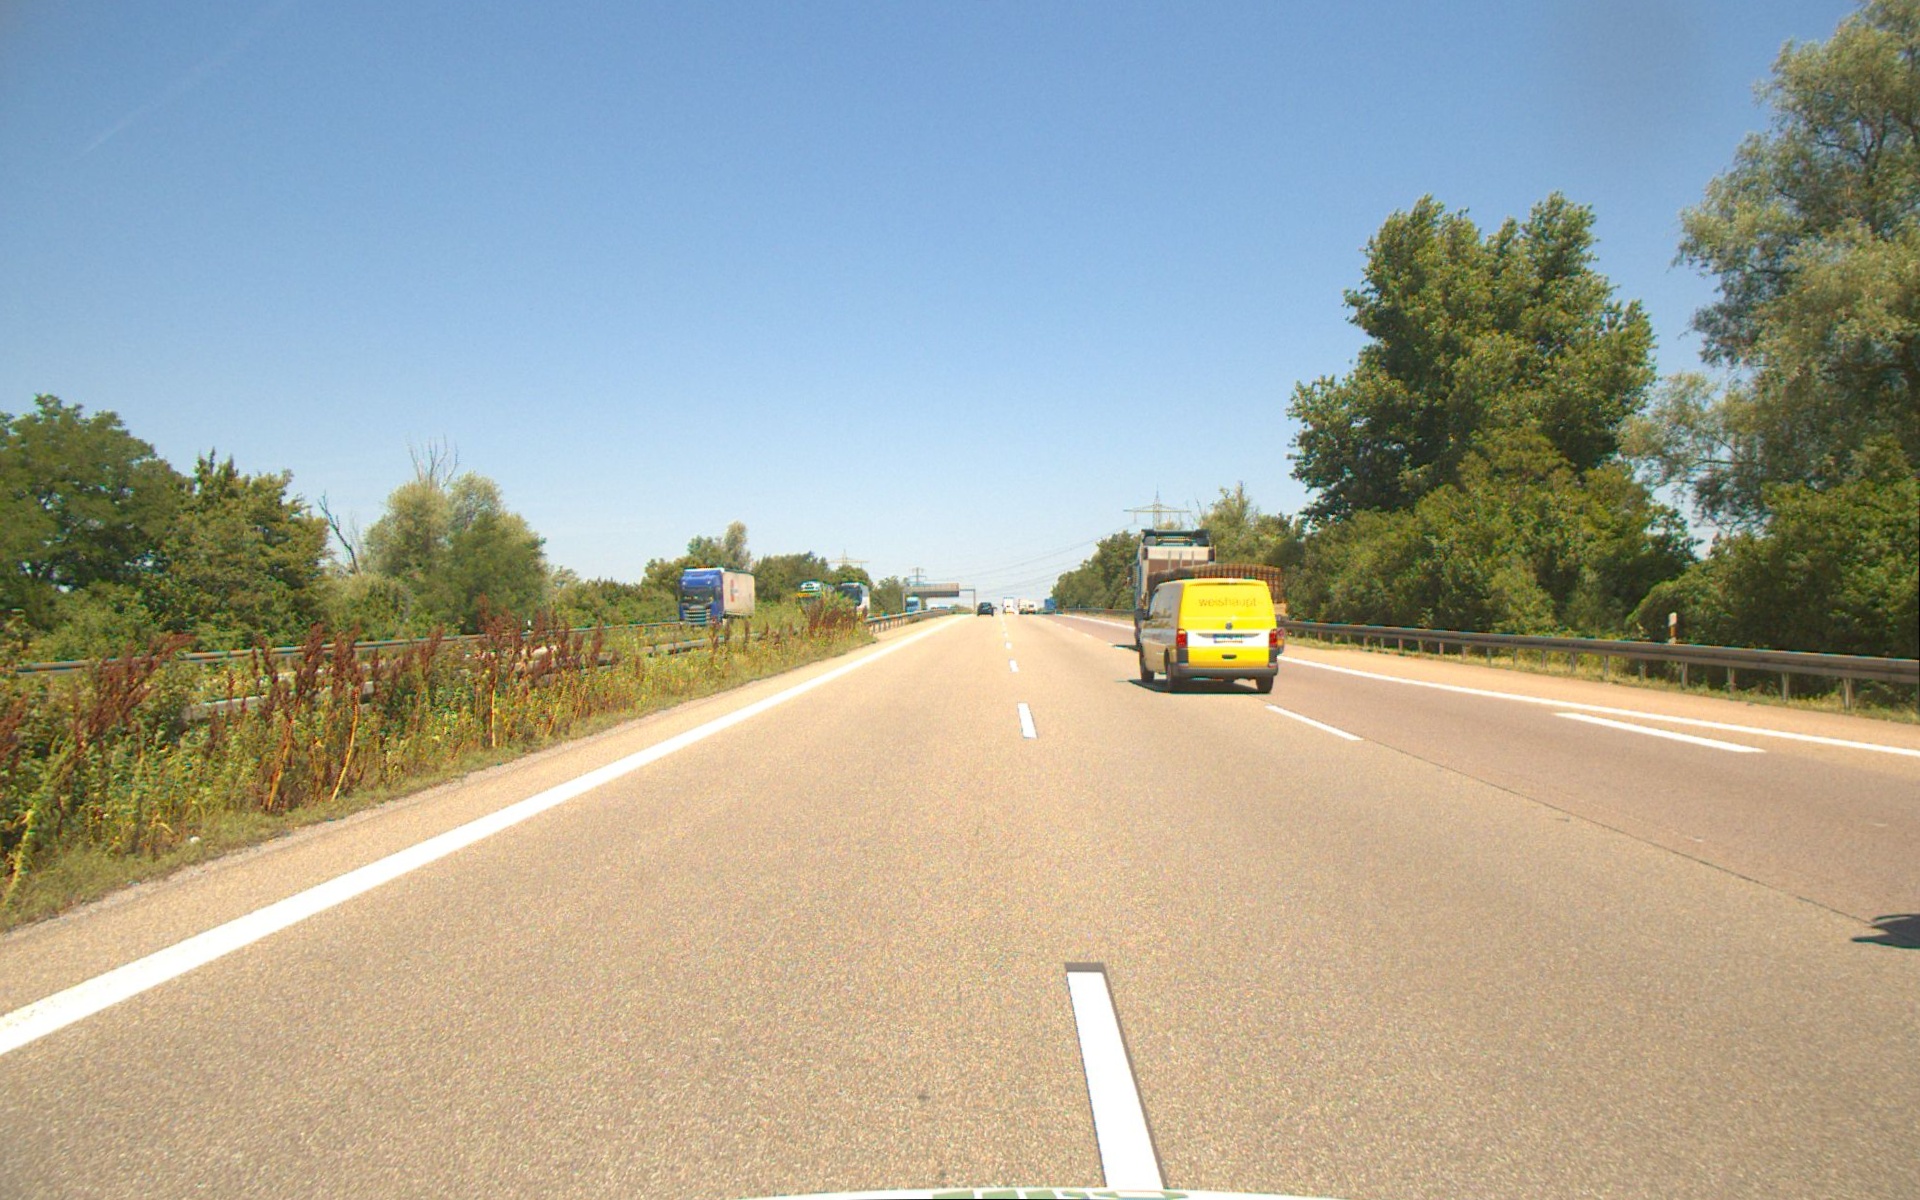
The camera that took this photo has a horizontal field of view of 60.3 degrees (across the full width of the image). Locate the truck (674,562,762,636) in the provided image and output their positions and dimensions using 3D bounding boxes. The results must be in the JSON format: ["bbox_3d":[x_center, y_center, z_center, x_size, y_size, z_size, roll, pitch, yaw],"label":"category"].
[{"bbox_3d":[-16.058,-0.025,111.347,2.894,4.417,17.471,-3,0,1],"label":"truck"}]

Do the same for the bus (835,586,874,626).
[{"bbox_3d":[-10.505,0.570,165.370,2.639,3.646,12.795,-3,0,1],"label":"bus"}]

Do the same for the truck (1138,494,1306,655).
[{"bbox_3d":[7.480,-0.541,49.839,2.908,4.026,16.615,0,-1,2],"label":"truck"}]

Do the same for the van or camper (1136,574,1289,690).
[{"bbox_3d":[4.504,0.534,30.230,1.953,1.942,4.970,0,0,-1],"label":"van or camper"}]

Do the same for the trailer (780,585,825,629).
[{"bbox_3d":[-15.172,0.662,160.395,2.861,4.037,11.652,-3,0,1],"label":"trailer"}]

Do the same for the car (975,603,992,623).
[{"bbox_3d":[2.533,1.381,175.240,1.754,2.049,3.888,0,-1,2],"label":"car"}]
